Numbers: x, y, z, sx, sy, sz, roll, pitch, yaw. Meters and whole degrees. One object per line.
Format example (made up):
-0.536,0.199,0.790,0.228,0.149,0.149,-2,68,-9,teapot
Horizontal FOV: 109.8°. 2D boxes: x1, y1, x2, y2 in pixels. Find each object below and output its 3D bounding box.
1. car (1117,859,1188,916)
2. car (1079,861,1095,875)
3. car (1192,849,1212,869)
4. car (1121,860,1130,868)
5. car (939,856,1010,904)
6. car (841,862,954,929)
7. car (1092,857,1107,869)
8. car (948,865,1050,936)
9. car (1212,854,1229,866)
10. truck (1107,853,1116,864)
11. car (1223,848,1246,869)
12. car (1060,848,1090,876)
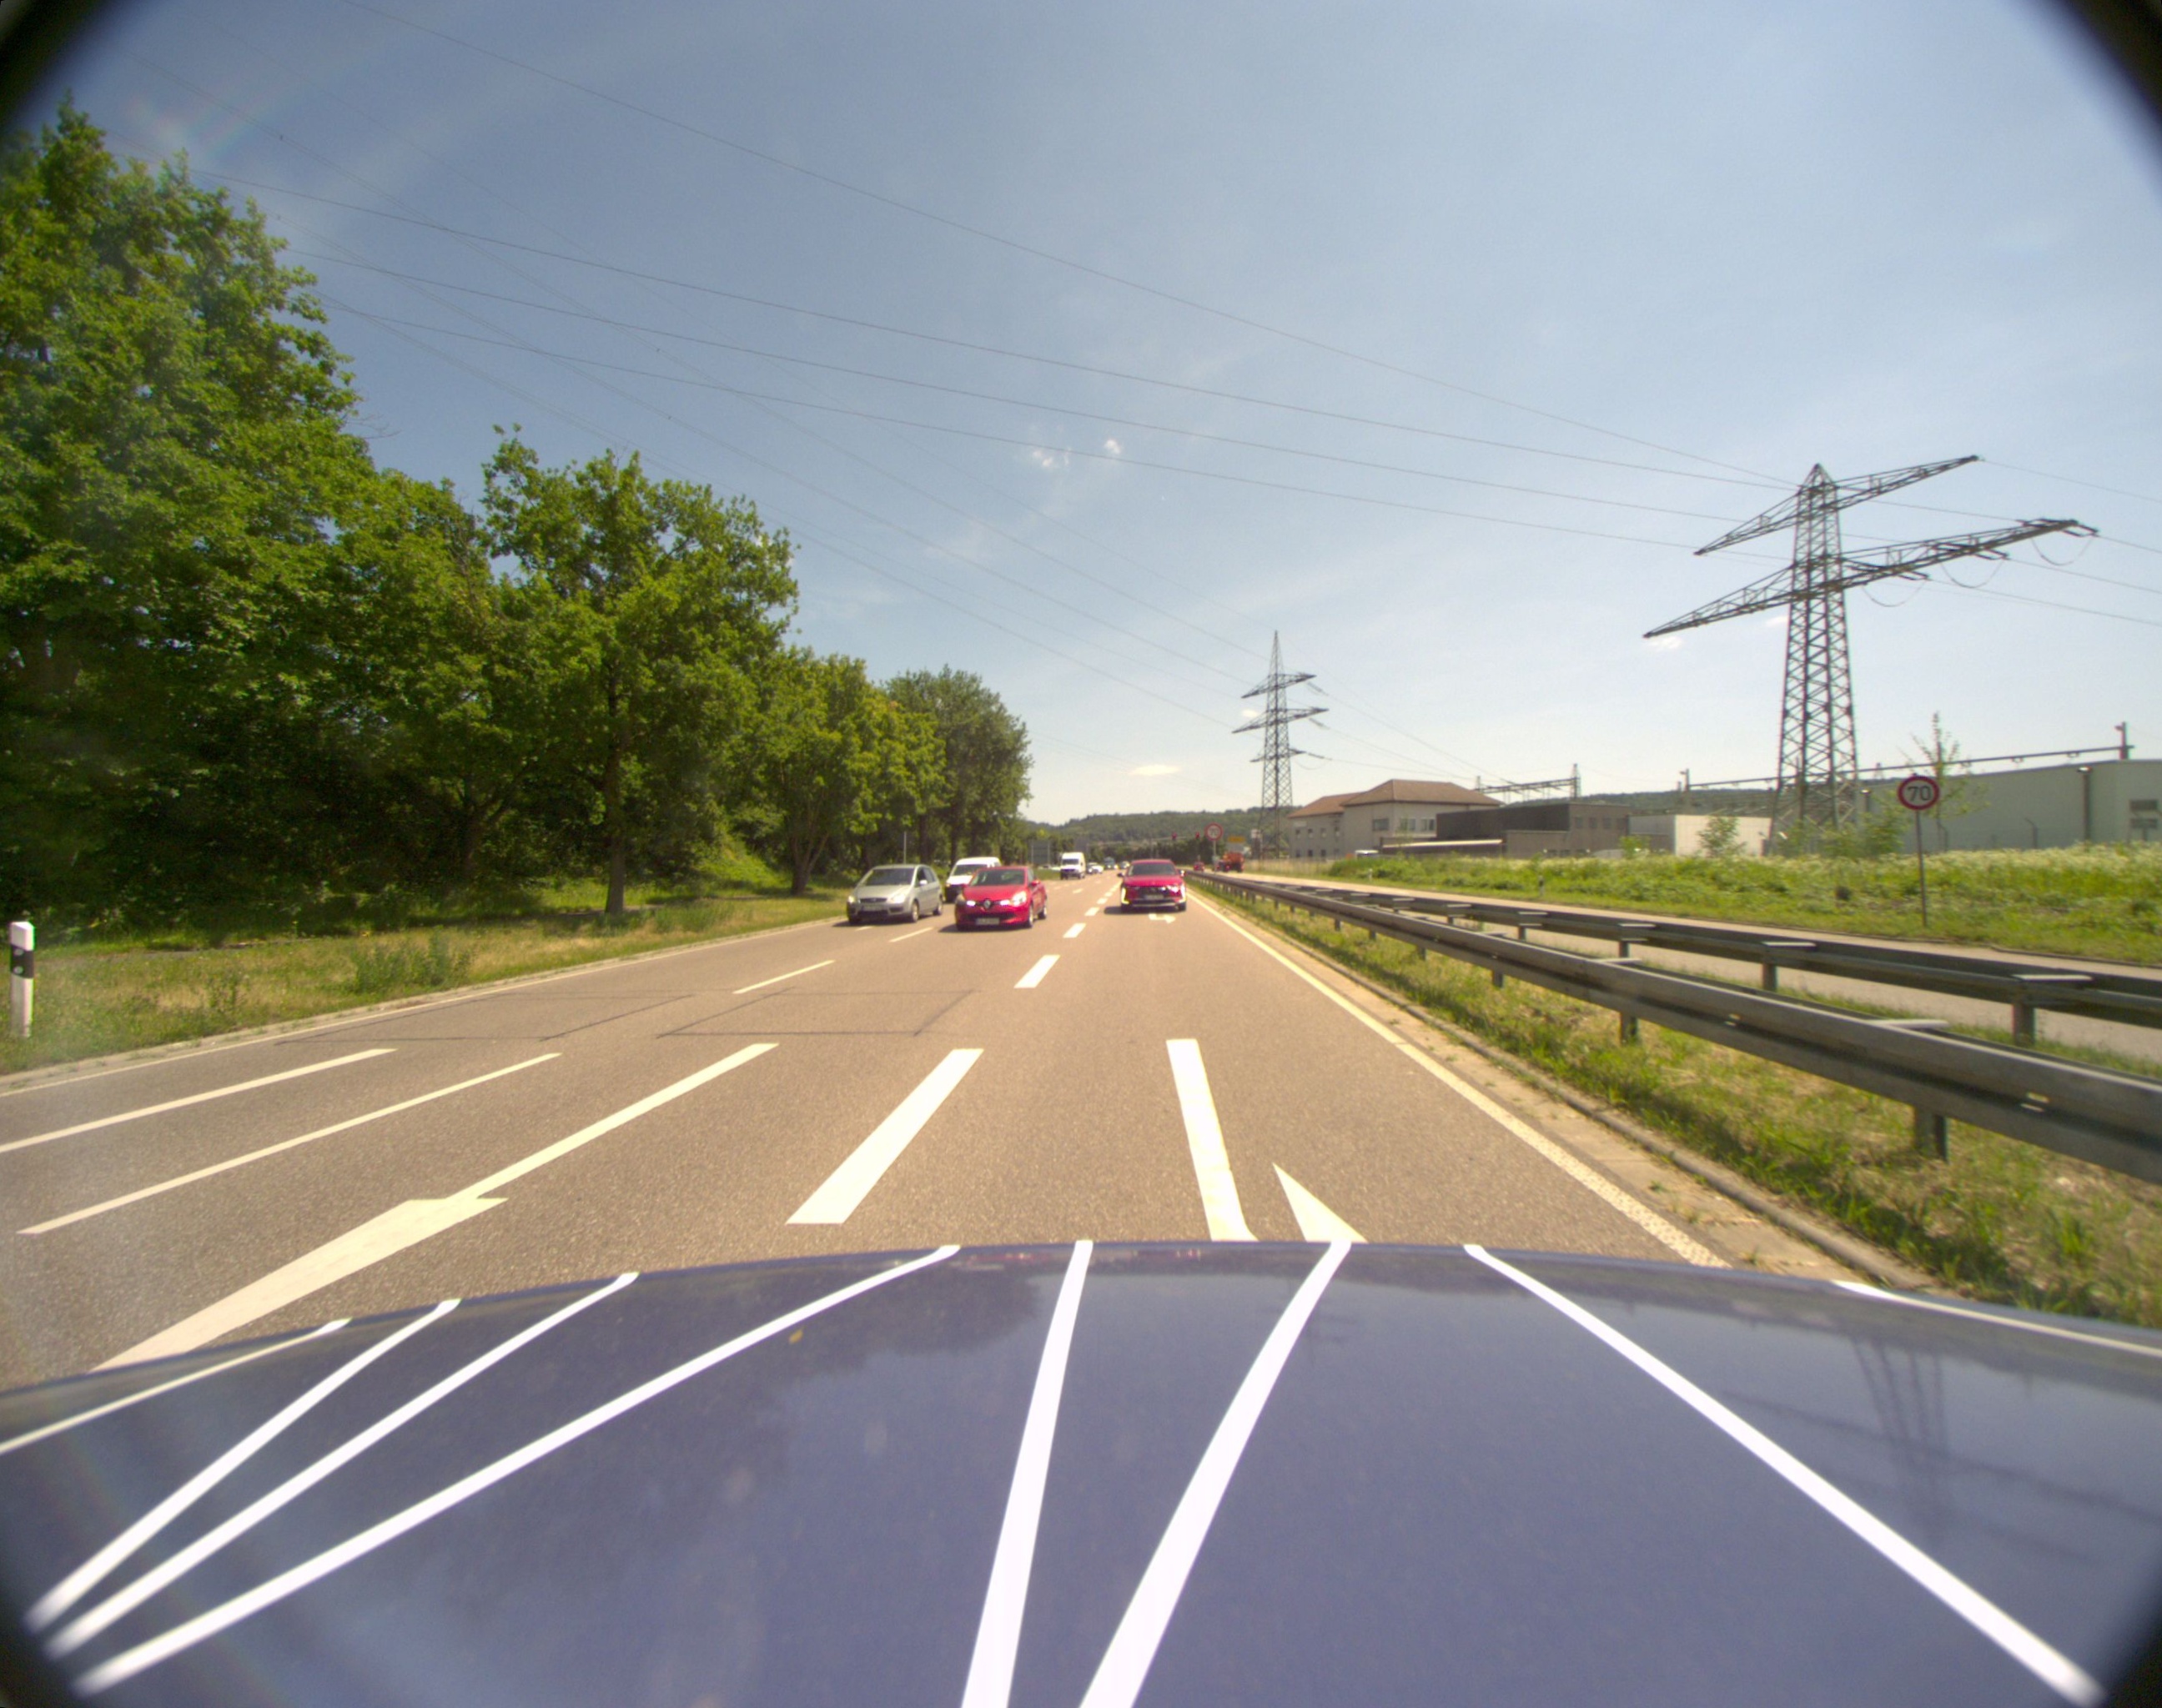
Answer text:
2.099,0.922,22.570,1.846,1.453,4.416,-2,0,5,car
0.790,1.803,101.011,1.878,1.674,4.000,-2,1,2,car
19.296,0.745,121.396,2.606,3.043,5.640,0,0,4,car
10.025,2.293,169.775,1.878,1.674,4.000,-2,1,2,car
-4.297,1.007,31.526,1.809,1.790,5.039,-2,0,4,car
-5.001,1.074,21.355,1.746,1.585,4.274,-2,0,5,car
2.748,1.298,112.448,1.849,1.559,4.365,-2,0,5,car
-1.877,1.043,18.569,1.747,1.453,4.066,-2,0,4,car
23.155,0.934,126.411,1.998,1.904,3.999,-2,1,1,car
7.369,1.025,184.366,2.169,2.428,4.911,-2,1,2,truck
22.749,0.662,113.022,2.606,3.043,5.641,0,0,4,car
-0.529,0.736,75.853,2.232,2.591,7.021,-2,0,4,car
